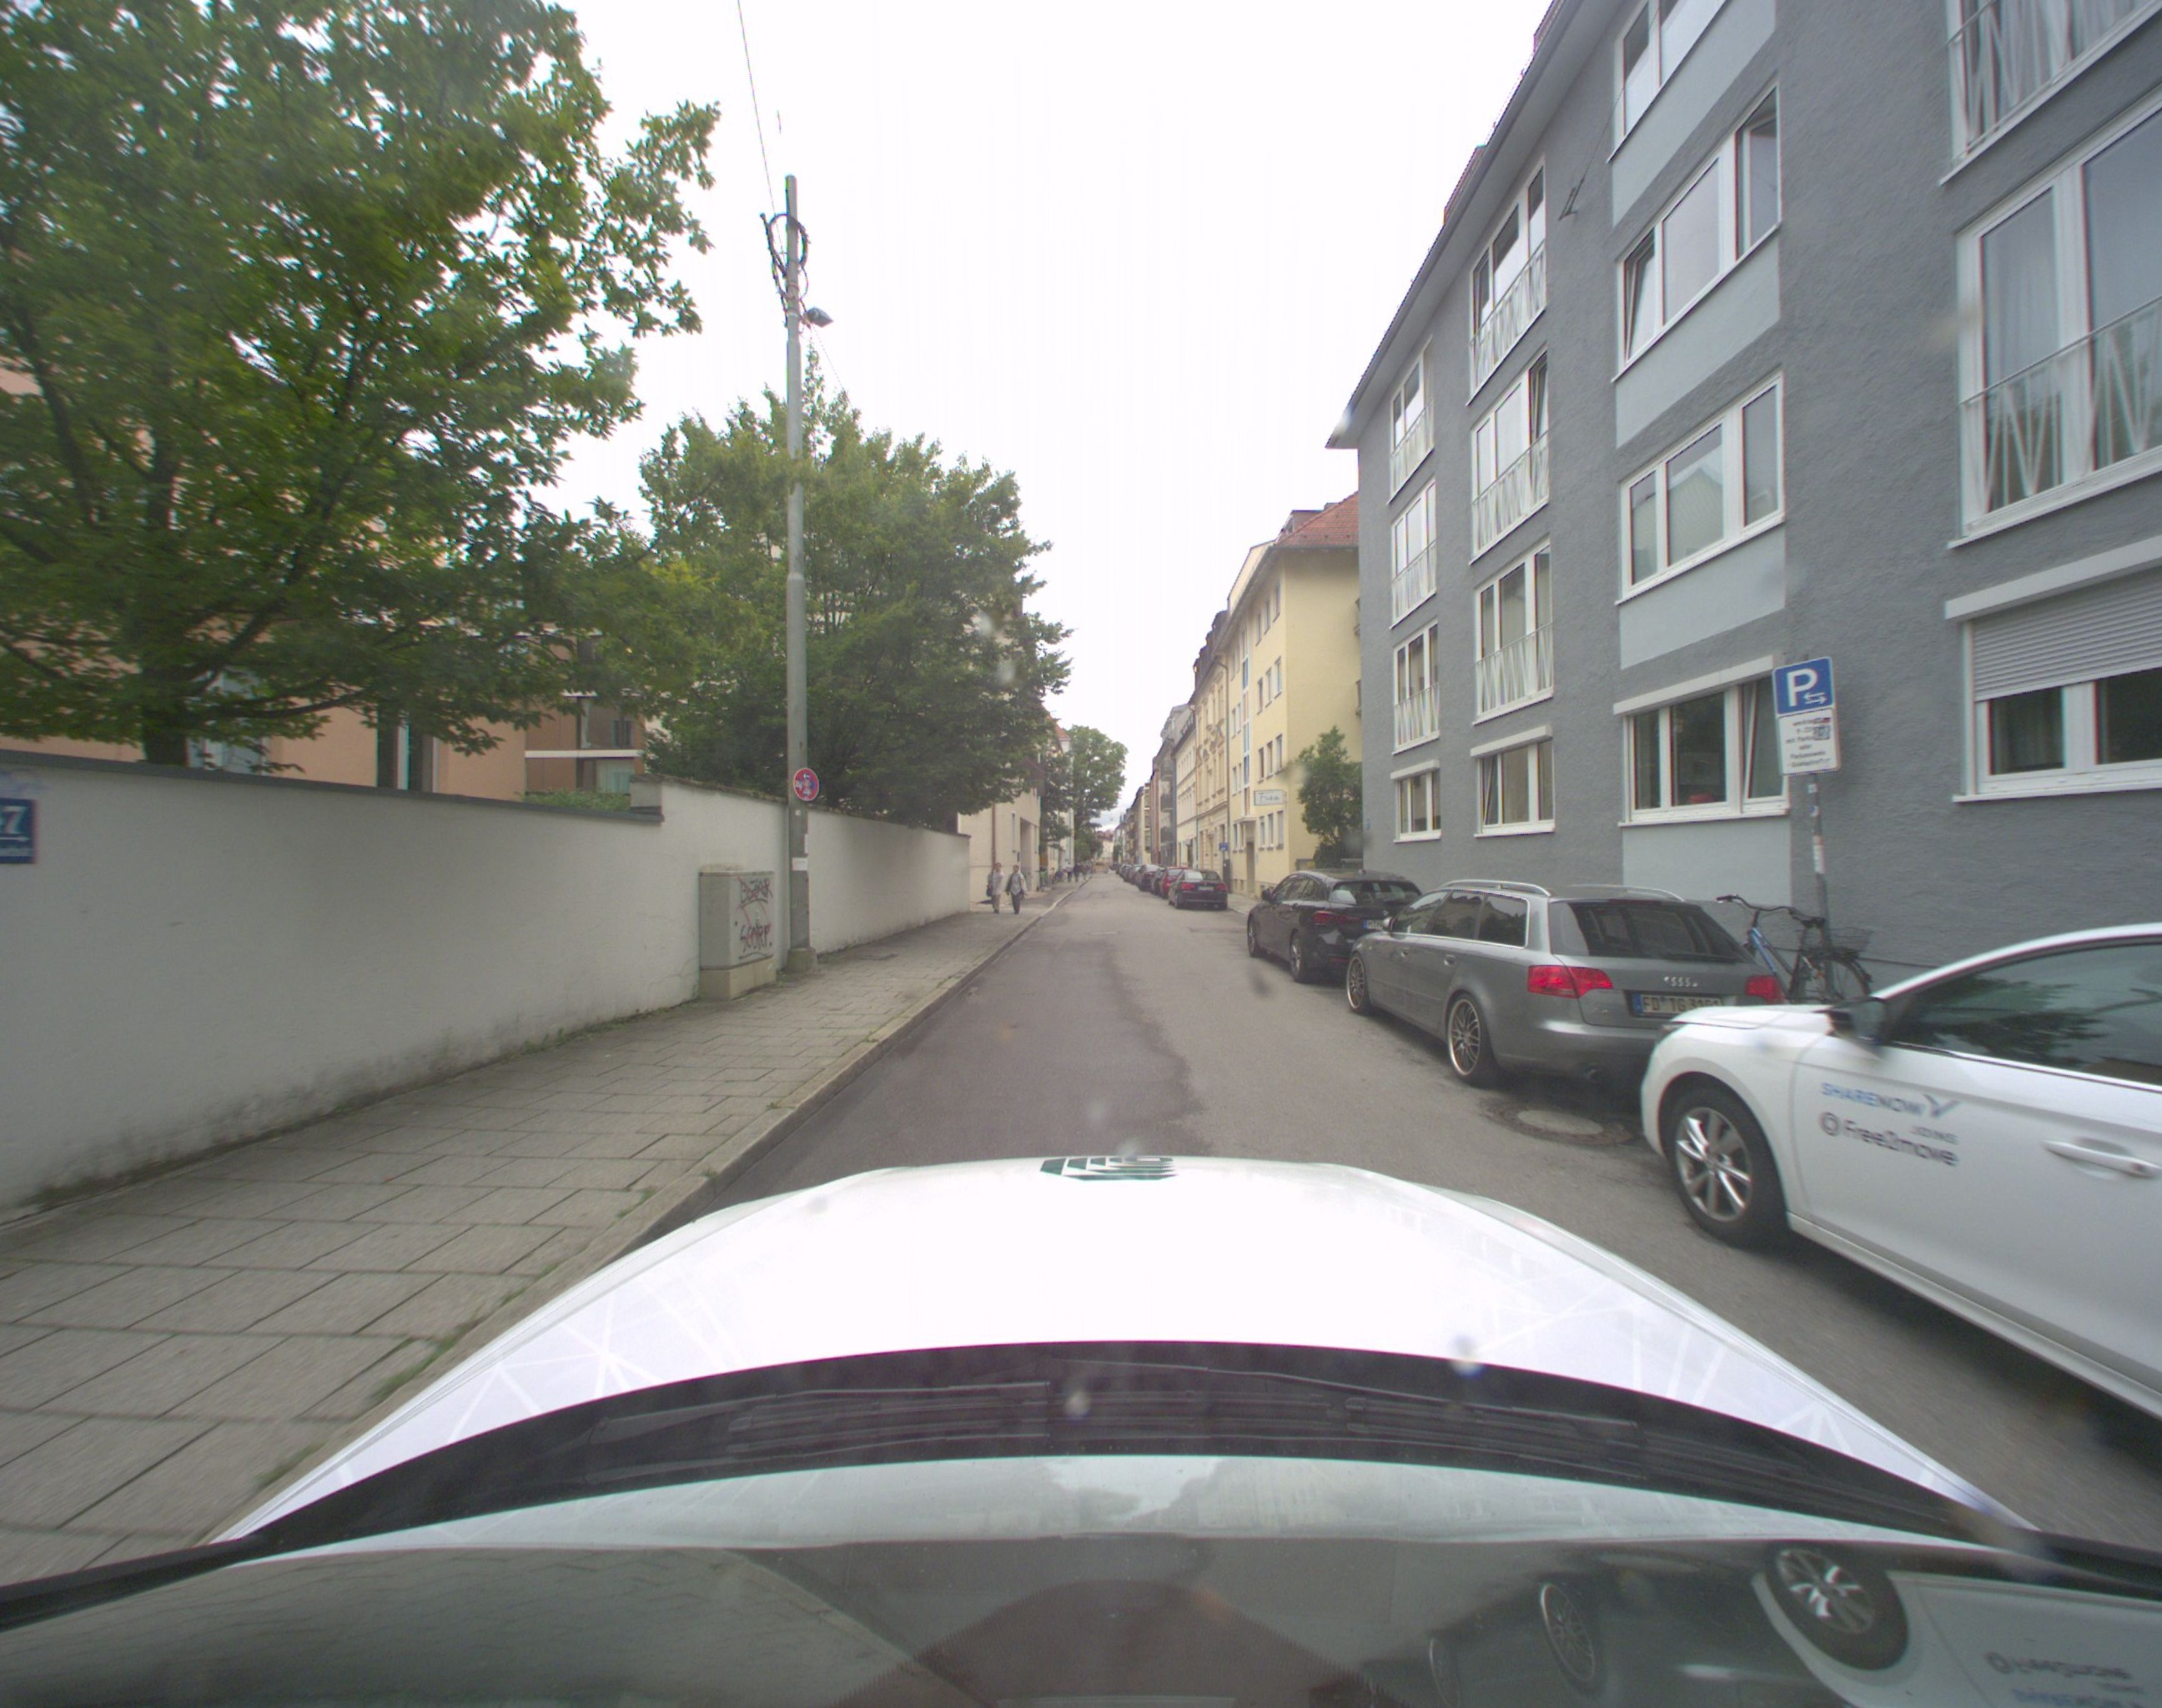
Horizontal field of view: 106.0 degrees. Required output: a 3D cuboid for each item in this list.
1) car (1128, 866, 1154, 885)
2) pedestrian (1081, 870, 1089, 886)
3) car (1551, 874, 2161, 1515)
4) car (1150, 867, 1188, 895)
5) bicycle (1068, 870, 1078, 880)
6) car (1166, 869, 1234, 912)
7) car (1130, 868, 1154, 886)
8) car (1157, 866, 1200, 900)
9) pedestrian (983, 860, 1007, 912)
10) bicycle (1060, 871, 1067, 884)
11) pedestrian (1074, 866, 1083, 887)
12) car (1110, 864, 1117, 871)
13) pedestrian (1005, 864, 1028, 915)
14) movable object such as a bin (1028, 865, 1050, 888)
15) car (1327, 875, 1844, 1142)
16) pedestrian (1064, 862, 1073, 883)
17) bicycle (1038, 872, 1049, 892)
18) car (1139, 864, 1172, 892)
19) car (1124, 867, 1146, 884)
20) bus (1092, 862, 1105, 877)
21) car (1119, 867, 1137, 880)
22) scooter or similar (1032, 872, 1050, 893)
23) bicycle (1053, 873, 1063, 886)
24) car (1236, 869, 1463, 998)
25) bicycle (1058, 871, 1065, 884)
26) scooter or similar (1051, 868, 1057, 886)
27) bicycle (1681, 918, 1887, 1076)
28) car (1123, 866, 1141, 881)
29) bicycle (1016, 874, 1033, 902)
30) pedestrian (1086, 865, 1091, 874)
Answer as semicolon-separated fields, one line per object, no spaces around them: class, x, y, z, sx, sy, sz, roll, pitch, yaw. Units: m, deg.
car;5.144;1.825;70.481;1.870;1.570;4.315;-2;-1;0
pedestrian;0.432;2.454;83.852;0.750;1.659;0.906;1;-2;1
car;3.412;0.846;2.312;1.762;1.446;4.346;3;-1;3
car;4.648;1.414;43.255;1.670;1.393;4.066;0;-1;1
bicycle;-0.951;2.489;96.567;0.643;1.217;1.655;-1;-2;-17
car;4.178;1.245;29.201;1.819;1.335;4.509;3;-1;1
car;4.879;1.867;65.561;1.801;1.363;3.947;-1;-1;2
car;4.614;1.350;38.861;1.670;1.492;3.854;0;-1;1
pedestrian;-2.733;1.022;25.974;0.611;1.621;0.688;2;-1;2
bicycle;-1.562;2.111;73.608;0.561;1.159;1.718;0;-2;-4
pedestrian;-0.222;1.973;70.697;0.715;1.766;0.838;1;-2;2
car;8.531;3.449;214.625;1.795;1.712;3.825;3;-1;0
pedestrian;-2.053;1.126;26.008;0.620;1.579;0.714;1;-2;1
movable object such as a bin;-2.802;1.475;54.198;1.168;1.442;1.251;4;0;7
car;3.625;0.956;6.999;1.782;1.401;4.487;3;-1;3
pedestrian;-1.060;1.619;70.515;0.715;1.797;0.917;1;-2;2
bicycle;-2.263;1.663;48.690;0.542;1.161;1.882;1;-1;0
car;4.553;1.434;50.008;1.696;1.607;4.685;0;-1;1
car;4.965;1.975;75.368;1.833;1.529;4.292;0;-1;0
bus;3.951;3.497;182.563;2.583;3.102;6.308;-1;-2;2
car;5.735;2.353;100.098;1.880;1.555;4.390;0;-1;-1
scooter or similar;-2.274;1.626;46.625;0.547;1.144;1.364;1;-1;18
bicycle;-1.773;1.965;63.751;0.702;0.984;1.820;4;-1;-3
car;3.620;0.986;11.864;1.835;1.429;4.262;3;-1;0
bicycle;-1.689;2.071;71.894;0.456;1.159;1.606;2;-1;3
scooter or similar;-2.055;1.743;62.027;0.316;1.376;1.239;-1;-2;1
bicycle;6.106;1.183;7.198;0.376;1.110;1.687;-1;-1;2
car;5.471;2.092;87.441;1.769;1.556;4.001;0;-1;1
bicycle;-2.433;1.435;35.048;0.536;1.139;1.917;1;-1;1
pedestrian;1.301;2.766;144.814;0.753;1.491;0.831;-1;-2;1
